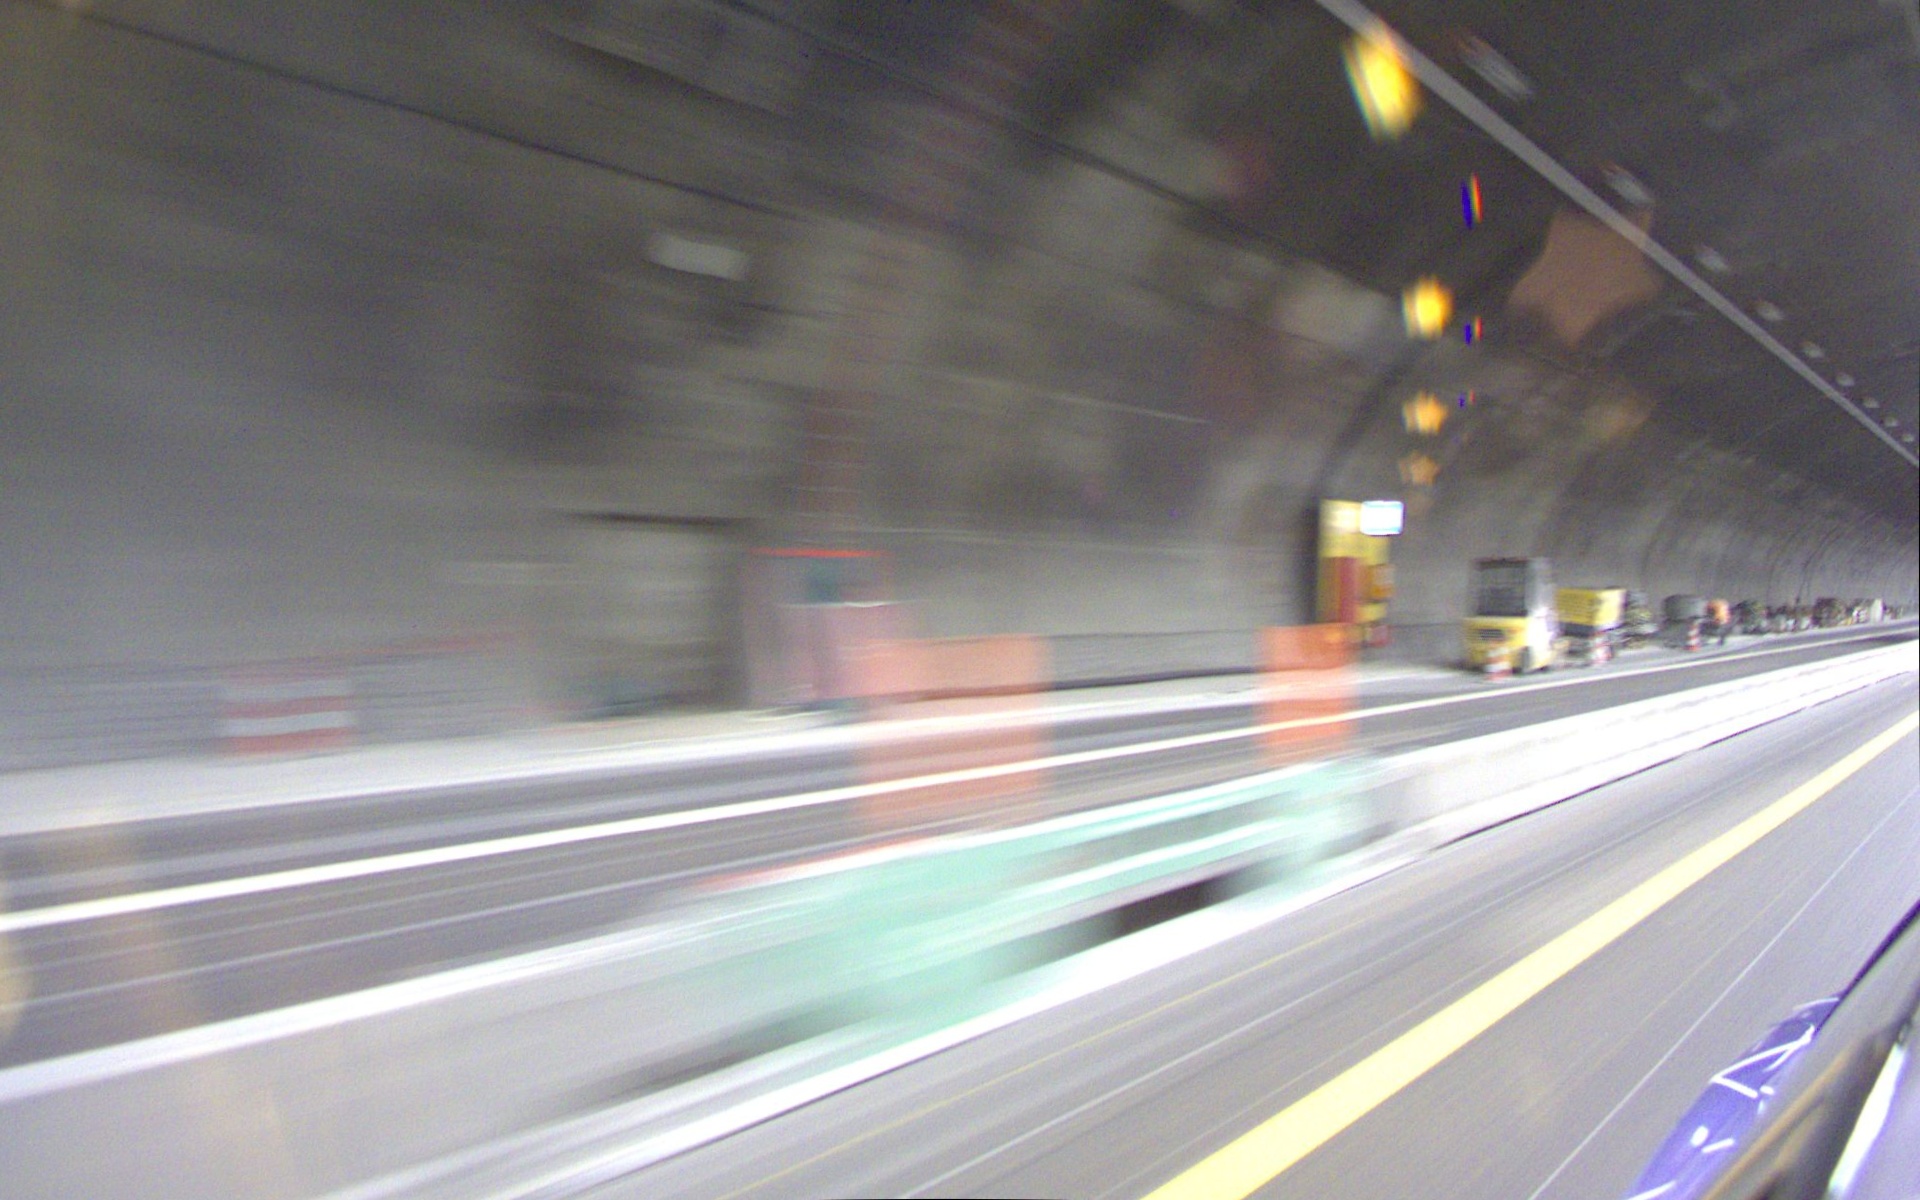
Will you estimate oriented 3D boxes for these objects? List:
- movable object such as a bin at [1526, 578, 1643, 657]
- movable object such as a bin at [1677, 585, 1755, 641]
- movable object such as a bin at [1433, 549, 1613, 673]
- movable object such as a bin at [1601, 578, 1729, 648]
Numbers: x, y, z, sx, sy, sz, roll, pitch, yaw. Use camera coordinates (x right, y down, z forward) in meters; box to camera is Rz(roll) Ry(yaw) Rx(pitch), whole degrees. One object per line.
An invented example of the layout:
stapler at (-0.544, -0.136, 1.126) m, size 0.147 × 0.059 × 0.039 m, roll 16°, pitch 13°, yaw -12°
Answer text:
movable object such as a bin at (14.787, 0.362, 23.929) m, size 3.002 × 1.730 × 1.558 m, roll -1°, pitch 1°, yaw -41°
movable object such as a bin at (23.892, 0.391, 31.953) m, size 3.002 × 1.613 × 1.306 m, roll 0°, pitch 4°, yaw -41°
movable object such as a bin at (11.151, 0.159, 19.902) m, size 4.548 × 2.172 × 1.686 m, roll -1°, pitch 1°, yaw -41°
movable object such as a bin at (19.760, 0.339, 28.294) m, size 4.423 × 1.695 × 1.864 m, roll 0°, pitch 4°, yaw -41°
